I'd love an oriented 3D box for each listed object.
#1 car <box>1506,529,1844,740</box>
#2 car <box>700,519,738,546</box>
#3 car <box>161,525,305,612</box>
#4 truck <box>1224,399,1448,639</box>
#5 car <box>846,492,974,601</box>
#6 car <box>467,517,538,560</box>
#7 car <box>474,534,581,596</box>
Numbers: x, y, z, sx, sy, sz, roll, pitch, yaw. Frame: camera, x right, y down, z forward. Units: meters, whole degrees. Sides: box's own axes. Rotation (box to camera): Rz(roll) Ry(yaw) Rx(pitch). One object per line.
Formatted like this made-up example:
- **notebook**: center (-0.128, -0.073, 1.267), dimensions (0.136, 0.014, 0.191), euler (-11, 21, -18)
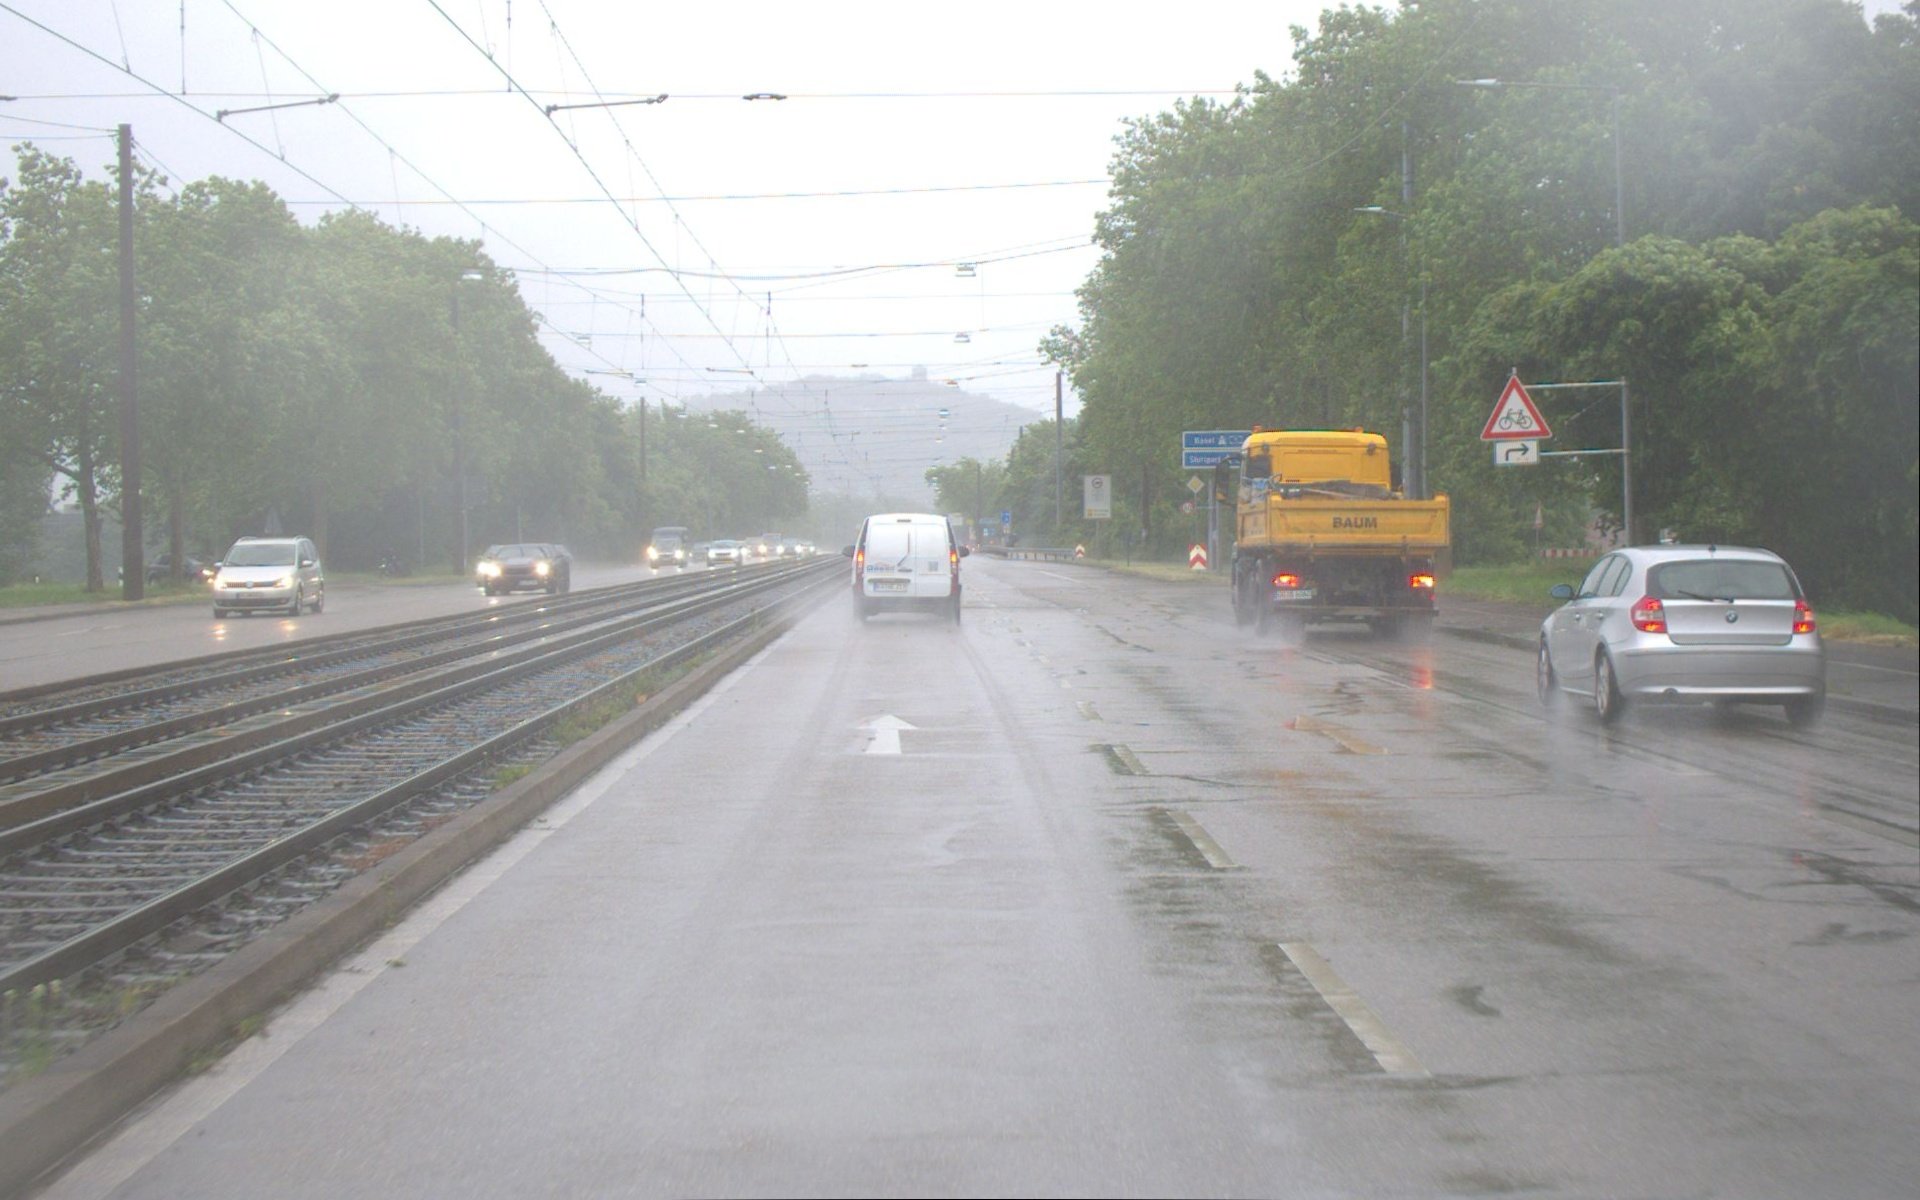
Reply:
- **car**: center (5.757, 0.213, 28.231), dimensions (1.626, 1.498, 4.607), euler (1, 2, -2)
- **car**: center (-12.996, -3.652, 185.411), dimensions (1.741, 1.349, 4.546), euler (1, 2, 0)
- **car**: center (-14.330, -0.658, 68.021), dimensions (1.842, 1.568, 5.067), euler (1, 2, -1)
- **truck**: center (5.409, -1.229, 50.547), dimensions (2.556, 3.246, 6.933), euler (1, 2, 1)
- **car**: center (-0.788, -0.912, 56.558), dimensions (1.989, 1.678, 3.740), euler (1, 2, 1)
- **car**: center (-15.536, -2.102, 116.910), dimensions (1.758, 1.358, 5.072), euler (1, 2, -1)
- **car**: center (-11.724, -0.979, 93.527), dimensions (1.994, 1.459, 5.251), euler (-2, 2, 2)
